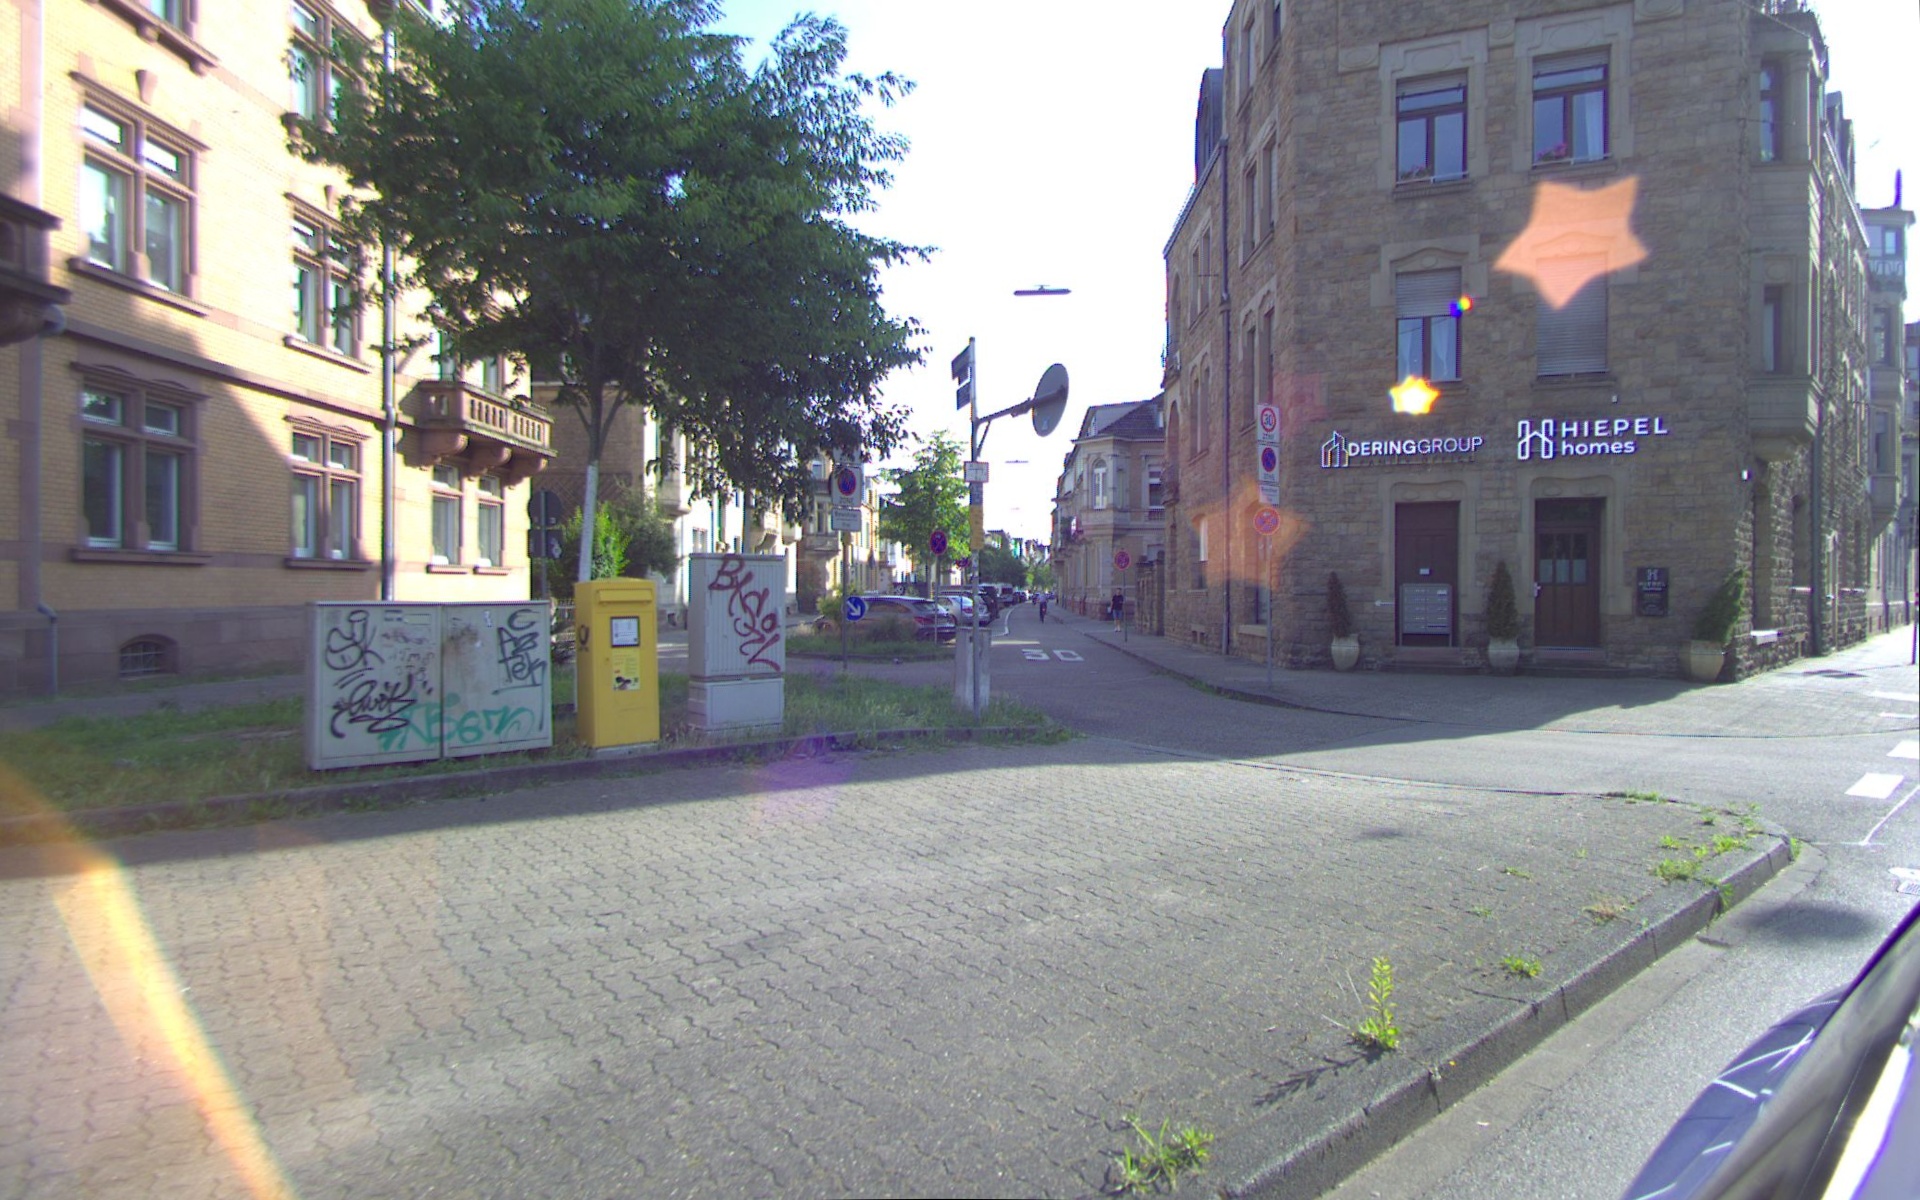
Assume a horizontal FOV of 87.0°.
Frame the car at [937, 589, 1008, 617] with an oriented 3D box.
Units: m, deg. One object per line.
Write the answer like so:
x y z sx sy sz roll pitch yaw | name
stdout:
0.787 0.181 63.364 3.954 1.672 1.985 -1 -1 23 | car

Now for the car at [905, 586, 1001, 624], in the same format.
-0.319 0.248 46.433 3.954 1.672 1.985 -1 -1 23 | car

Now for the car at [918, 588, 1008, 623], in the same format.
0.139 0.287 49.437 3.954 1.672 1.985 -1 -1 23 | car

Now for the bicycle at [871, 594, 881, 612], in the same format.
-6.124 0.232 73.940 0.561 1.273 1.568 0 1 3 | bicycle

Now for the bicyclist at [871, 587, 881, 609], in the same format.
-6.118 -0.149 73.868 0.643 1.560 0.896 0 0 3 | bicyclist

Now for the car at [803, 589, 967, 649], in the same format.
-2.156 0.516 28.297 4.429 1.533 1.972 -1 -1 38 | car

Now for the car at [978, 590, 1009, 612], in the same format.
2.733 0.069 81.779 1.968 1.672 3.987 -1 0 10 | car

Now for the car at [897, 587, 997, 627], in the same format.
-0.600 0.304 43.492 3.980 1.672 1.972 -1 -1 40 | car

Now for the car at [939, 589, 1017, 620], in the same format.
1.019 0.277 57.126 3.954 1.672 1.985 -1 -1 23 | car

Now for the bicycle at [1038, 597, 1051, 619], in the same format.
4.702 0.428 56.361 0.682 1.171 2.476 -1 0 5 | bicycle

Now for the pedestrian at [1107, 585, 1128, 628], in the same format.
6.268 0.250 40.285 0.750 1.696 0.782 -1 -1 6 | pedestrian

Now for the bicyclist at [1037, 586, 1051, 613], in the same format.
4.672 -0.013 56.300 0.731 1.474 0.653 -1 -1 5 | bicyclist
